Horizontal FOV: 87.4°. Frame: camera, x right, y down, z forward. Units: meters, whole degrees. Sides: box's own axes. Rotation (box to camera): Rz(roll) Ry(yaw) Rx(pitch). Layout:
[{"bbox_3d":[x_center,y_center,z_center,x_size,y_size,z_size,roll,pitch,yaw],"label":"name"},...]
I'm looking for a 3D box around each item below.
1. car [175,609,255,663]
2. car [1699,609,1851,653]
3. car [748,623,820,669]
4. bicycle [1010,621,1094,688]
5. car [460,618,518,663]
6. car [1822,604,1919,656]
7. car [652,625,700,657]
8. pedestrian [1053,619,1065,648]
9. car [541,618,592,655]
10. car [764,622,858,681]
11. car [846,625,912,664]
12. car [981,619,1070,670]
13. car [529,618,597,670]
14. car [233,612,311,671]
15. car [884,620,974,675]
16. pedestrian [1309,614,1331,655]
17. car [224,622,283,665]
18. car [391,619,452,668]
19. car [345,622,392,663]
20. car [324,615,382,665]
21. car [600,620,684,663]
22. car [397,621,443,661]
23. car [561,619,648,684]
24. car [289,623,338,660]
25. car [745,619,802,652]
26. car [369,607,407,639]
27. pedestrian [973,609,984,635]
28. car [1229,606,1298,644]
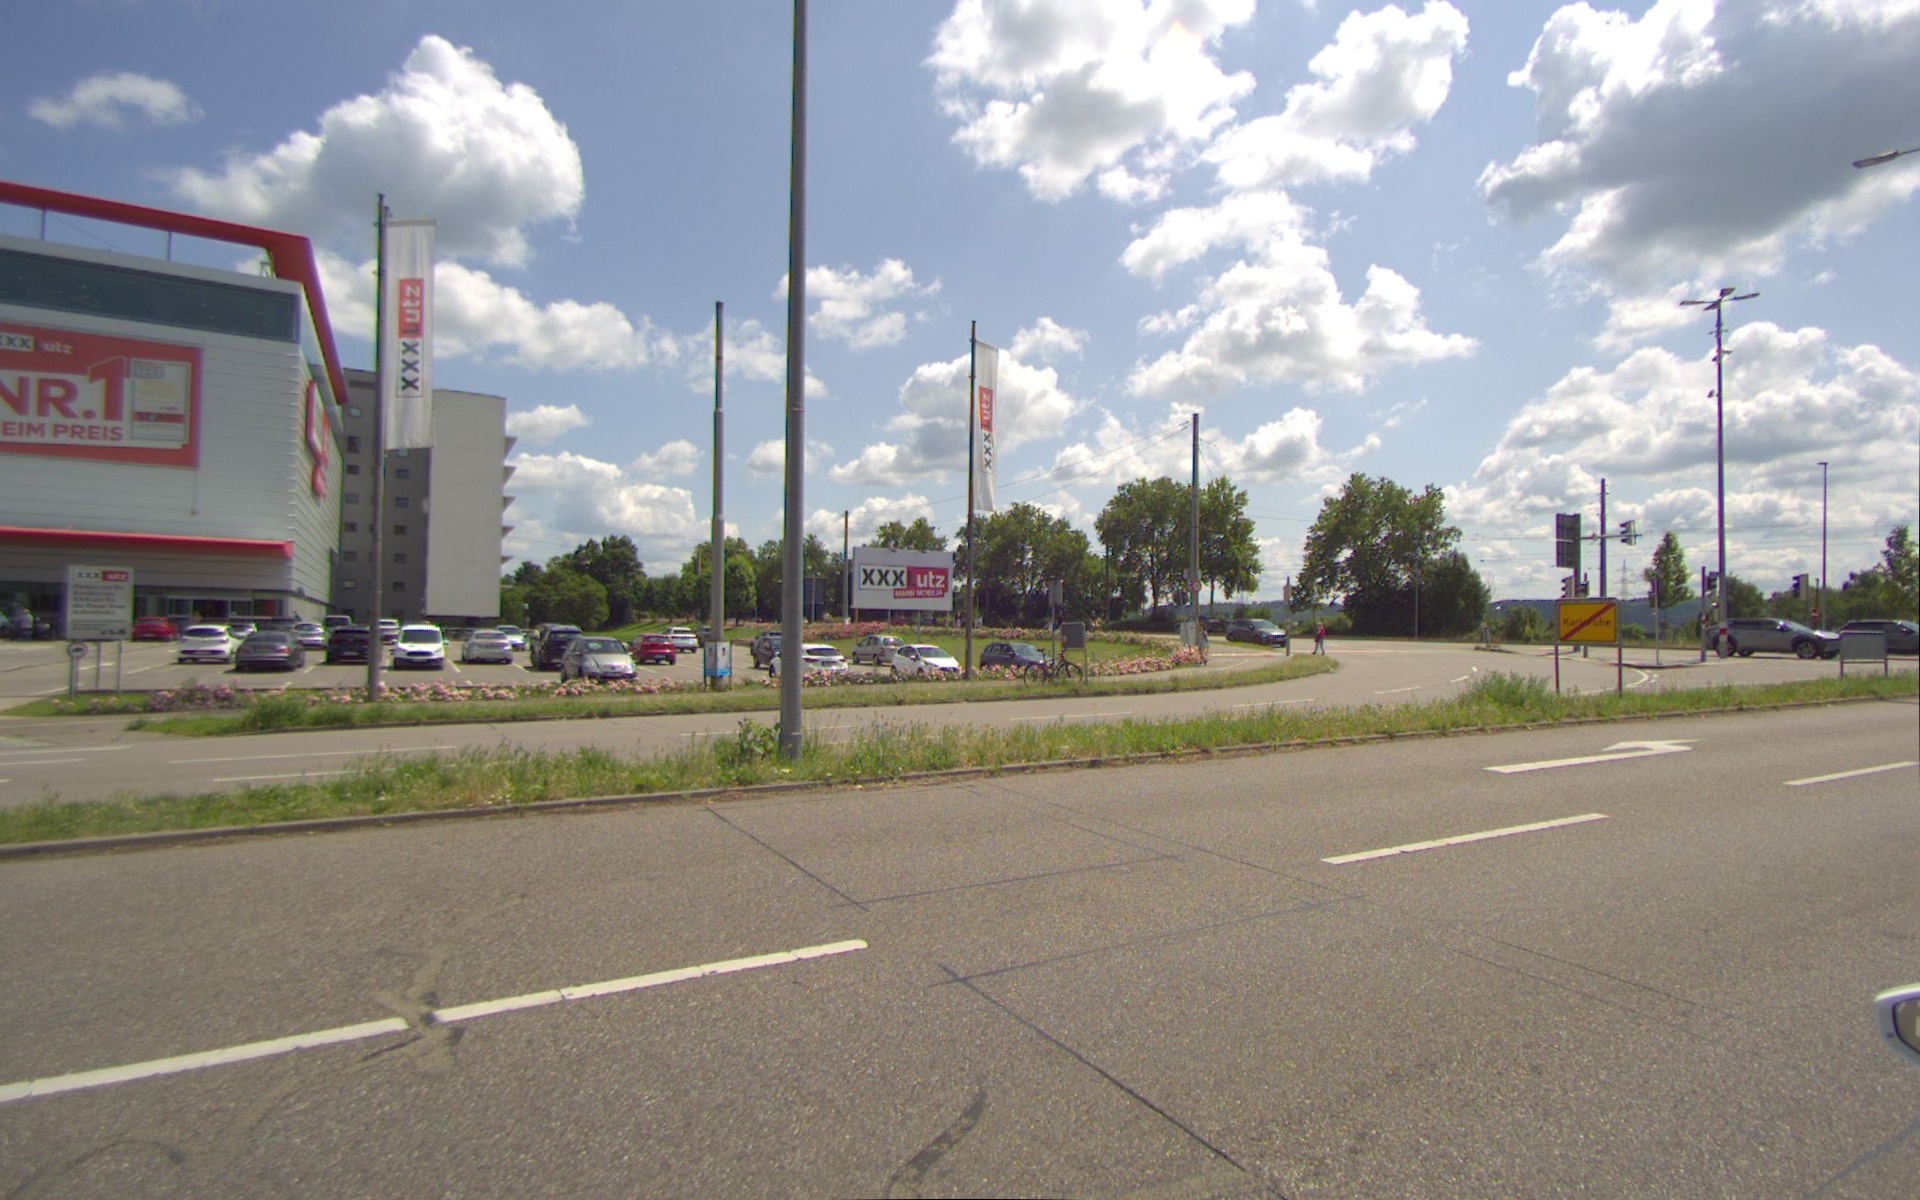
[{"bbox_3d":[-29.974,1.456,40.546,1.977,2.015,4.328,3,-3,-30],"label":"car"},{"bbox_3d":[33.320,1.322,41.203,1.882,1.696,4.483,1,-3,-31],"label":"car"},{"bbox_3d":[-8.305,2.128,47.078,1.977,2.015,4.328,1,-2,-30],"label":"car"},{"bbox_3d":[2.451,1.431,26.695,2.024,1.697,1.013,1,-2,-30],"label":"bicycle"},{"bbox_3d":[-21.275,1.814,45.261,1.977,1.906,4.328,1,-2,-30],"label":"car"},{"bbox_3d":[37.565,1.224,40.136,1.977,2.015,4.328,1,-2,-30],"label":"car"},{"bbox_3d":[-18.400,2.646,65.035,1.977,2.015,4.328,1,-2,-30],"label":"car"},{"bbox_3d":[6.387,2.141,64.692,0.588,1.834,0.532,0,-2,-19],"label":"pedestrian"},{"bbox_3d":[-22.284,2.070,56.804,1.977,2.015,4.589,1,-2,-31],"label":"car"},{"bbox_3d":[-5.503,1.836,36.718,1.977,2.015,4.328,1,-2,-30],"label":"car"},{"bbox_3d":[-4.472,2.423,55.014,1.977,2.015,4.328,1,-2,-30],"label":"car"},{"bbox_3d":[2.702,1.847,42.320,1.976,2.040,3.970,1,-2,-29],"label":"car"},{"bbox_3d":[-16.706,1.822,42.177,1.977,2.015,4.560,2,-2,-30],"label":"car"},{"bbox_3d":[-25.195,1.522,36.897,1.977,2.015,4.328,1,-2,-30],"label":"car"},{"bbox_3d":[-1.268,1.832,39.526,1.975,2.040,3.971,1,-2,-28],"label":"car"},{"bbox_3d":[16.928,1.616,47.232,0.784,1.862,0.865,2,0,32],"label":"pedestrian"},{"bbox_3d":[-35.060,2.139,49.955,1.977,2.015,4.328,1,-2,-30],"label":"car"},{"bbox_3d":[-21.596,1.719,40.197,1.977,1.863,4.328,1,-2,-30],"label":"car"},{"bbox_3d":[-30.132,2.159,51.242,1.977,2.015,4.328,1,-2,-30],"label":"car"},{"bbox_3d":[-25.538,1.676,42.369,1.977,2.015,4.328,1,-2,-30],"label":"car"},{"bbox_3d":[-15.644,2.026,49.203,1.985,2.015,5.245,2,-3,-41],"label":"car"},{"bbox_3d":[-28.317,2.125,52.622,1.977,2.015,4.054,1,-2,-30],"label":"car"},{"bbox_3d":[-11.982,1.697,33.702,1.977,2.015,4.328,1,-2,-30],"label":"car"},{"bbox_3d":[-34.998,2.225,54.503,1.977,1.906,4.328,1,-2,-30],"label":"car"},{"bbox_3d":[-11.848,2.251,63.513,2.223,2.015,4.328,1,-2,-30],"label":"car"},{"bbox_3d":[-37.220,1.534,65.439,1.975,2.015,4.057,1,-2,-28],"label":"car"},{"bbox_3d":[1.441,1.701,78.986,0.761,2.040,0.566,0,-2,-9],"label":"pedestrian"},{"bbox_3d":[16.754,1.422,55.668,1.966,2.040,3.990,0,-2,-13],"label":"car"}]
